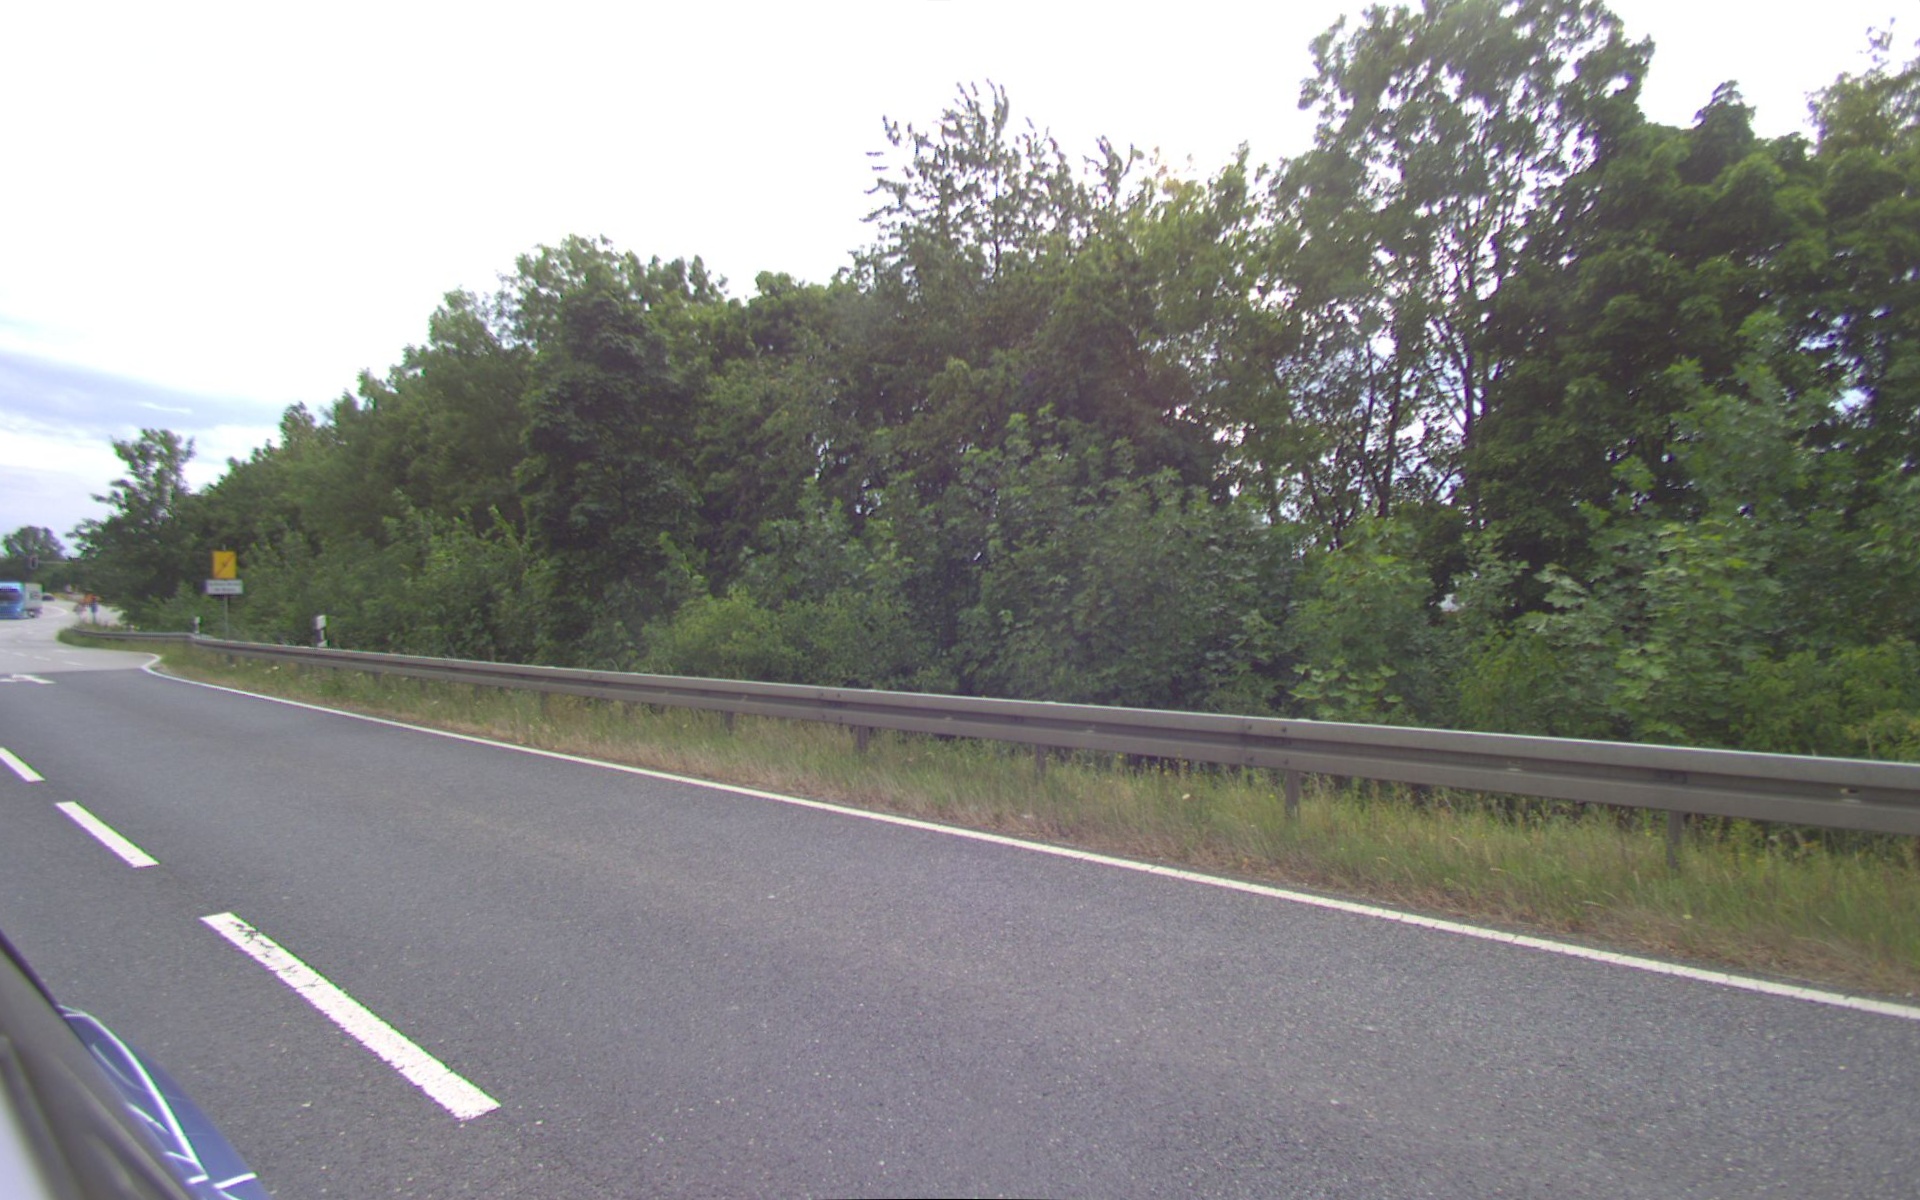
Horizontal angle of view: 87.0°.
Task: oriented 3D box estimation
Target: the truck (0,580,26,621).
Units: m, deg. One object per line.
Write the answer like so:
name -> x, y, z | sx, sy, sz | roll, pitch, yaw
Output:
truck -> -106.230, 0.045, 112.556 | 2.982, 4.383, 9.585 | 4, -3, -41

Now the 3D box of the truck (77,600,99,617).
truck -> -149.286, 1.467, 173.215 | 6.025, 2.621, 2.290 | -1, -4, 44
